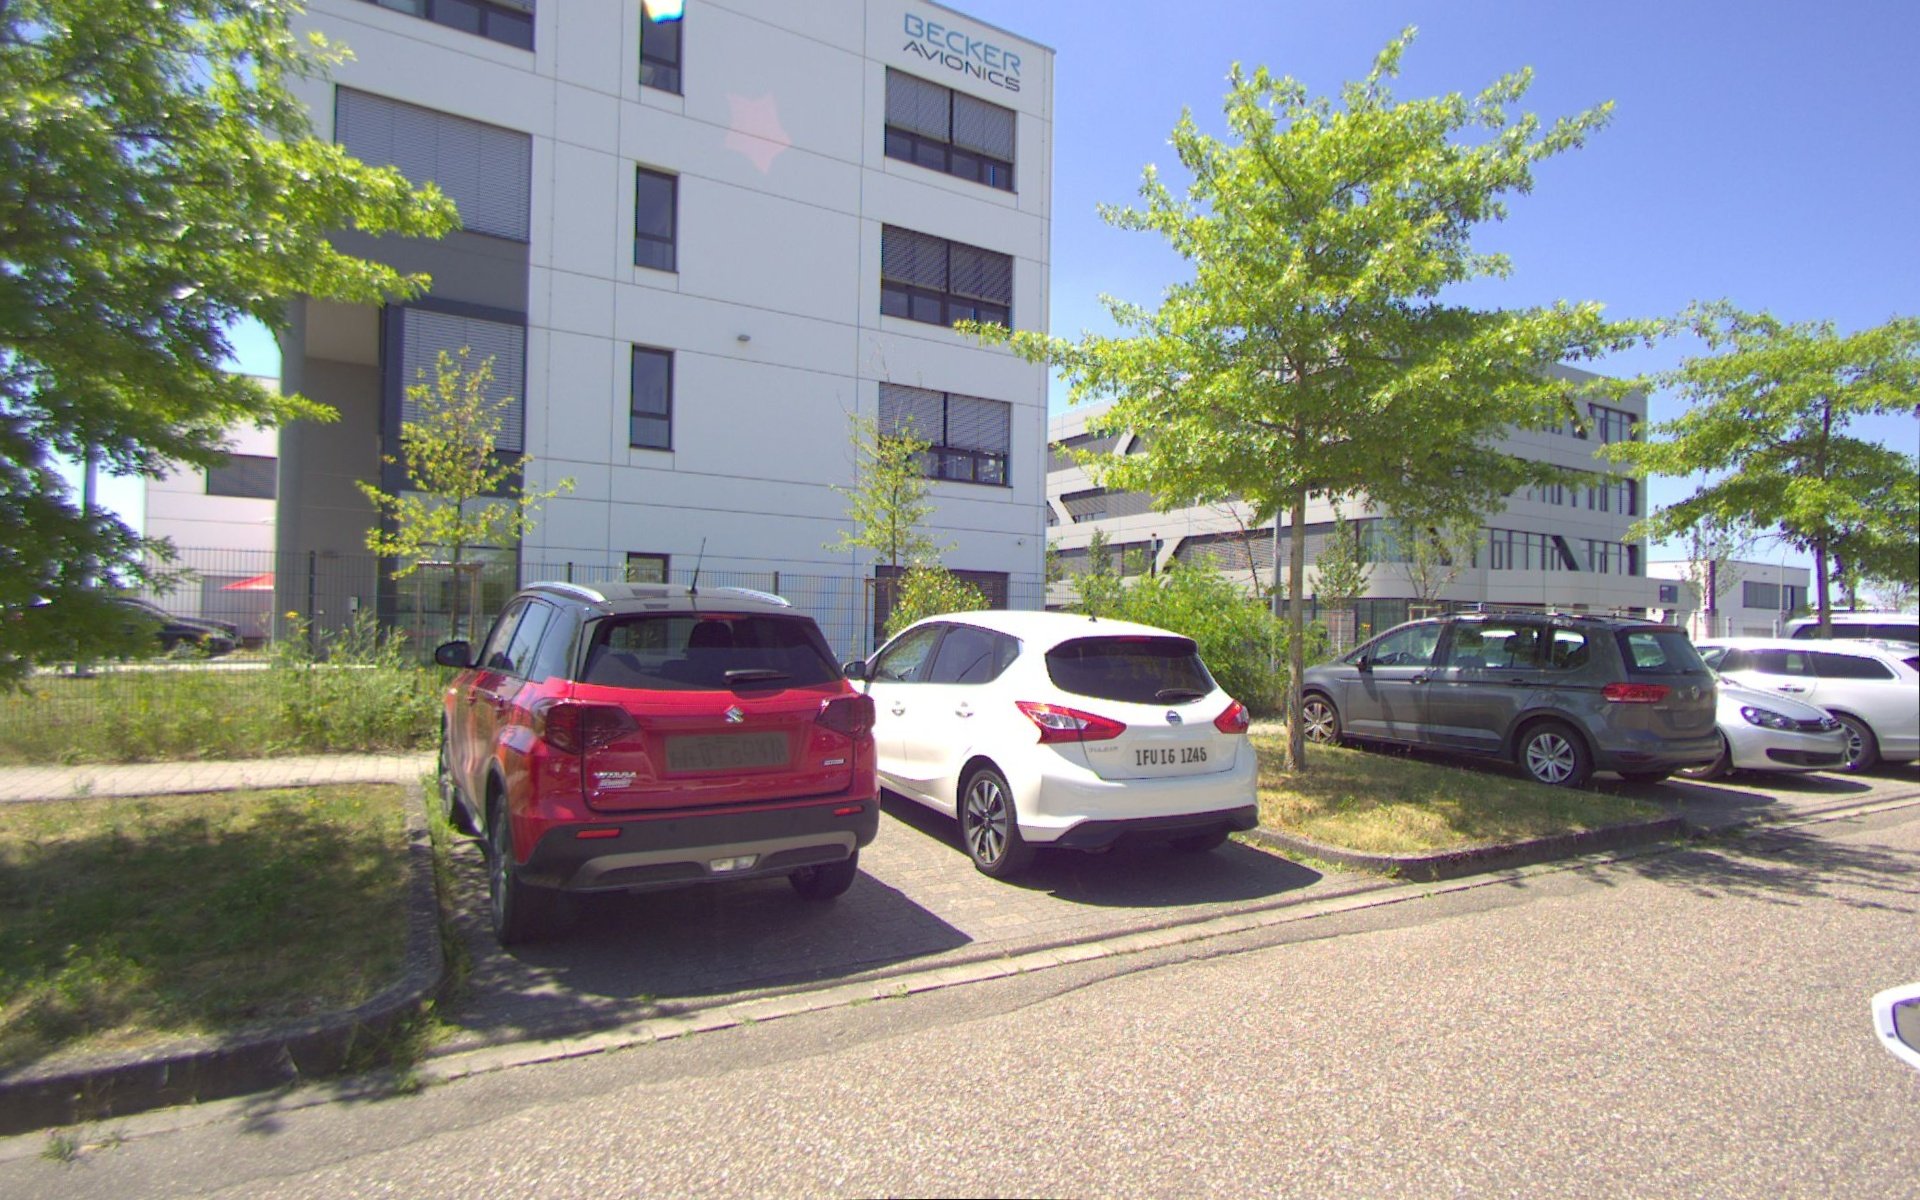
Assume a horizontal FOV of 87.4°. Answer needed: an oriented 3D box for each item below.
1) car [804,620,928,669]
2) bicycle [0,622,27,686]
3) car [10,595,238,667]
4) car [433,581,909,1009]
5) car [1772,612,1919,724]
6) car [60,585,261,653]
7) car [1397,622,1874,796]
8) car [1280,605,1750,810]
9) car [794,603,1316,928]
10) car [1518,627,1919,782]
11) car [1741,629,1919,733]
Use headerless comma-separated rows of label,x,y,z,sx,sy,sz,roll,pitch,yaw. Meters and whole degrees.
car,-3.287,1.539,35.149,3.955,1.623,1.767,2,-2,-31
bicycle,-15.436,0.843,16.027,0.456,0.995,1.584,2,-2,-31
car,-20.087,0.773,24.385,3.955,1.623,1.767,2,-2,-31
car,-1.971,0.726,5.870,1.708,1.613,3.818,2,0,-31
car,17.856,1.238,17.781,1.972,1.917,5.049,2,0,-28
car,-21.173,0.549,26.829,3.955,1.706,1.767,2,-2,-31
car,7.558,1.081,11.722,1.708,1.493,4.288,2,0,-31
car,5.620,0.942,10.737,1.707,1.656,4.097,2,0,-30
car,0.318,0.843,7.272,1.784,1.533,4.155,1,1,-28
car,9.849,1.164,12.591,1.837,1.466,4.686,2,0,-32
car,15.381,1.322,16.254,1.742,1.504,3.951,2,0,-29
